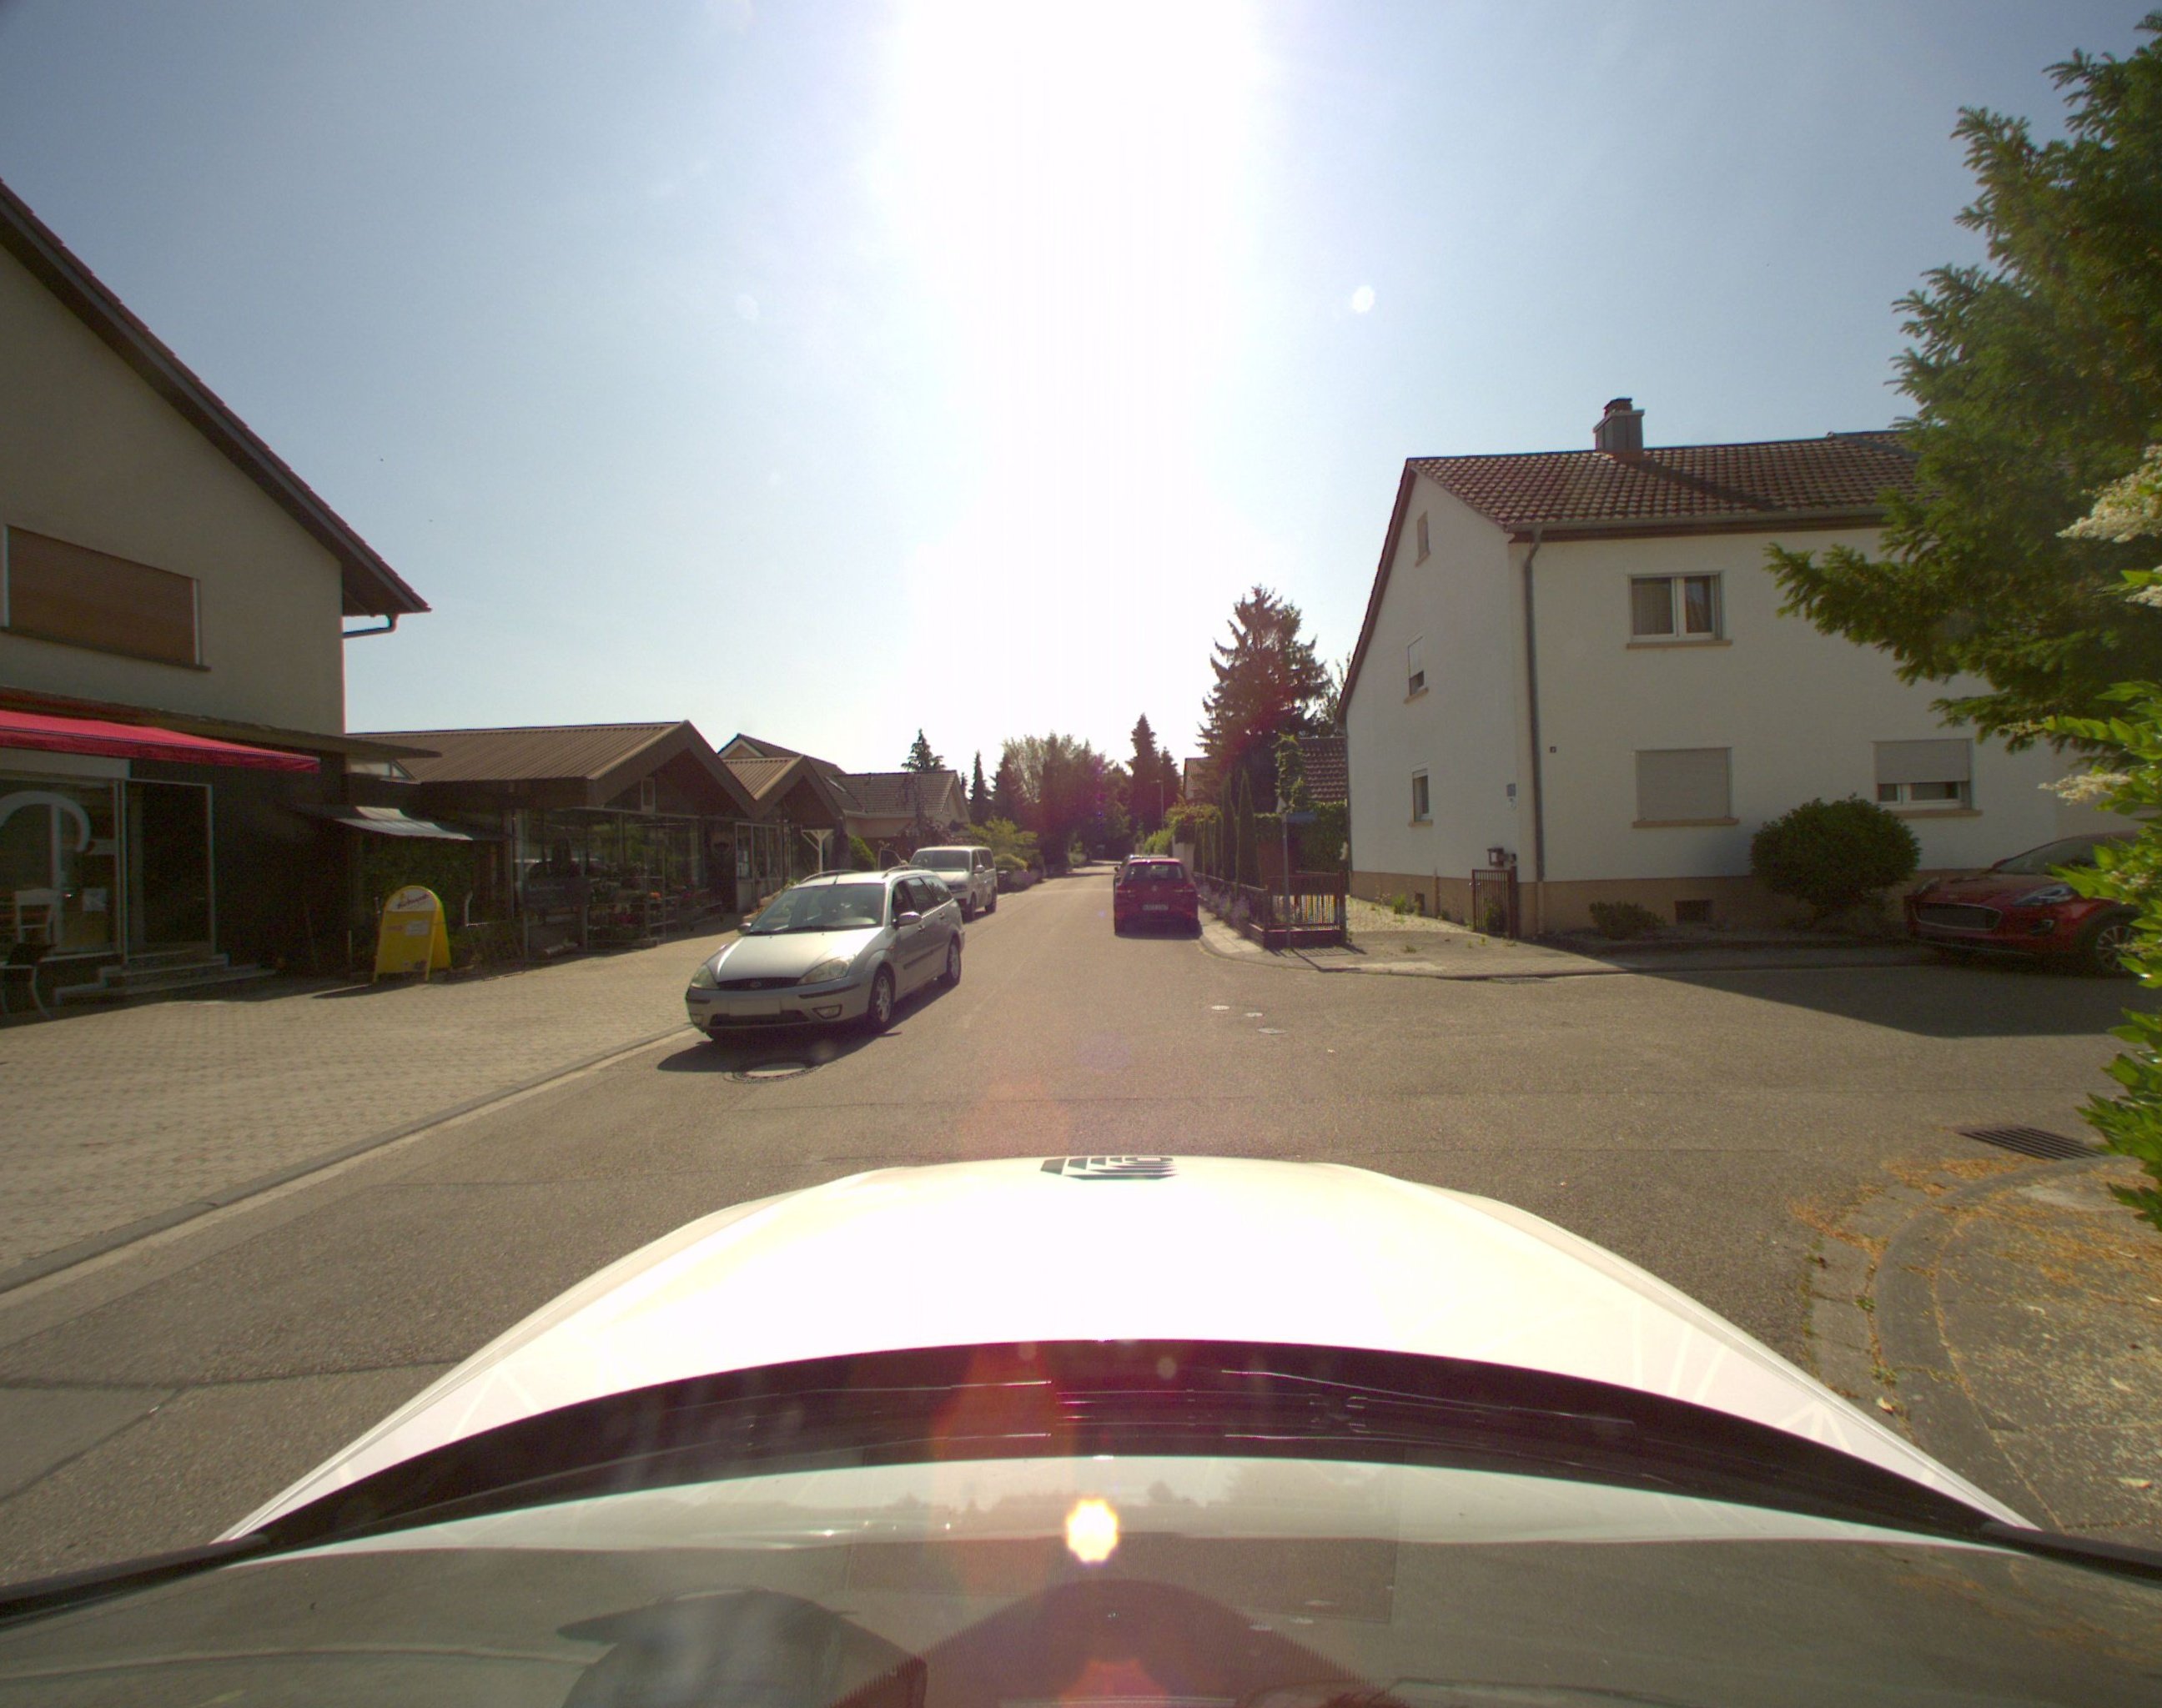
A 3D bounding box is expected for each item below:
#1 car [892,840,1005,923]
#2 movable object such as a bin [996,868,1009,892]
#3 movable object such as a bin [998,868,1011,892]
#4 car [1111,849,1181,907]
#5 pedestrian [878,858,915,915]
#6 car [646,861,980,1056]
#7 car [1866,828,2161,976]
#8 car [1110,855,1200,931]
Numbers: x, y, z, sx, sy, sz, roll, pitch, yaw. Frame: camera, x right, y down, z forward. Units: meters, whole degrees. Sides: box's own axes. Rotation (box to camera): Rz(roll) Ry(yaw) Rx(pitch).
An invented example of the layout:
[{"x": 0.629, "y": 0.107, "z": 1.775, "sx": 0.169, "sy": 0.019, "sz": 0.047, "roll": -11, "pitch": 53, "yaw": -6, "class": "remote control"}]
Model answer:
[{"x": -3.498, "y": 0.680, "z": 22.567, "sx": 1.920, "sy": 2.013, "sz": 4.902, "roll": -2, "pitch": 0, "yaw": 4, "class": "car"}, {"x": -3.448, "y": 1.142, "z": 35.712, "sx": 0.492, "sy": 1.024, "sz": 0.448, "roll": -2, "pitch": 0, "yaw": 2, "class": "movable object such as a bin"}, {"x": -3.404, "y": 1.150, "z": 36.173, "sx": 0.492, "sy": 1.024, "sz": 0.448, "roll": -2, "pitch": 0, "yaw": 2, "class": "movable object such as a bin"}, {"x": 1.891, "y": 0.676, "z": 24.810, "sx": 1.816, "sy": 1.615, "sz": 4.000, "roll": -1, "pitch": 0, "yaw": 0, "class": "car"}, {"x": -5.083, "y": 0.878, "z": 22.436, "sx": 0.710, "sy": 1.538, "sz": 0.646, "roll": -1, "pitch": 0, "yaw": 36, "class": "pedestrian"}, {"x": -2.550, "y": 0.910, "z": 9.050, "sx": 1.743, "sy": 1.487, "sz": 4.383, "roll": -4, "pitch": 0, "yaw": 6, "class": "car"}, {"x": 12.004, "y": 0.474, "z": 9.456, "sx": 3.971, "sy": 1.530, "sz": 1.798, "roll": -2, "pitch": 0, "yaw": 2, "class": "car"}, {"x": 1.681, "y": 0.772, "z": 18.065, "sx": 1.766, "sy": 1.479, "sz": 4.007, "roll": 0, "pitch": 0, "yaw": 6, "class": "car"}]
